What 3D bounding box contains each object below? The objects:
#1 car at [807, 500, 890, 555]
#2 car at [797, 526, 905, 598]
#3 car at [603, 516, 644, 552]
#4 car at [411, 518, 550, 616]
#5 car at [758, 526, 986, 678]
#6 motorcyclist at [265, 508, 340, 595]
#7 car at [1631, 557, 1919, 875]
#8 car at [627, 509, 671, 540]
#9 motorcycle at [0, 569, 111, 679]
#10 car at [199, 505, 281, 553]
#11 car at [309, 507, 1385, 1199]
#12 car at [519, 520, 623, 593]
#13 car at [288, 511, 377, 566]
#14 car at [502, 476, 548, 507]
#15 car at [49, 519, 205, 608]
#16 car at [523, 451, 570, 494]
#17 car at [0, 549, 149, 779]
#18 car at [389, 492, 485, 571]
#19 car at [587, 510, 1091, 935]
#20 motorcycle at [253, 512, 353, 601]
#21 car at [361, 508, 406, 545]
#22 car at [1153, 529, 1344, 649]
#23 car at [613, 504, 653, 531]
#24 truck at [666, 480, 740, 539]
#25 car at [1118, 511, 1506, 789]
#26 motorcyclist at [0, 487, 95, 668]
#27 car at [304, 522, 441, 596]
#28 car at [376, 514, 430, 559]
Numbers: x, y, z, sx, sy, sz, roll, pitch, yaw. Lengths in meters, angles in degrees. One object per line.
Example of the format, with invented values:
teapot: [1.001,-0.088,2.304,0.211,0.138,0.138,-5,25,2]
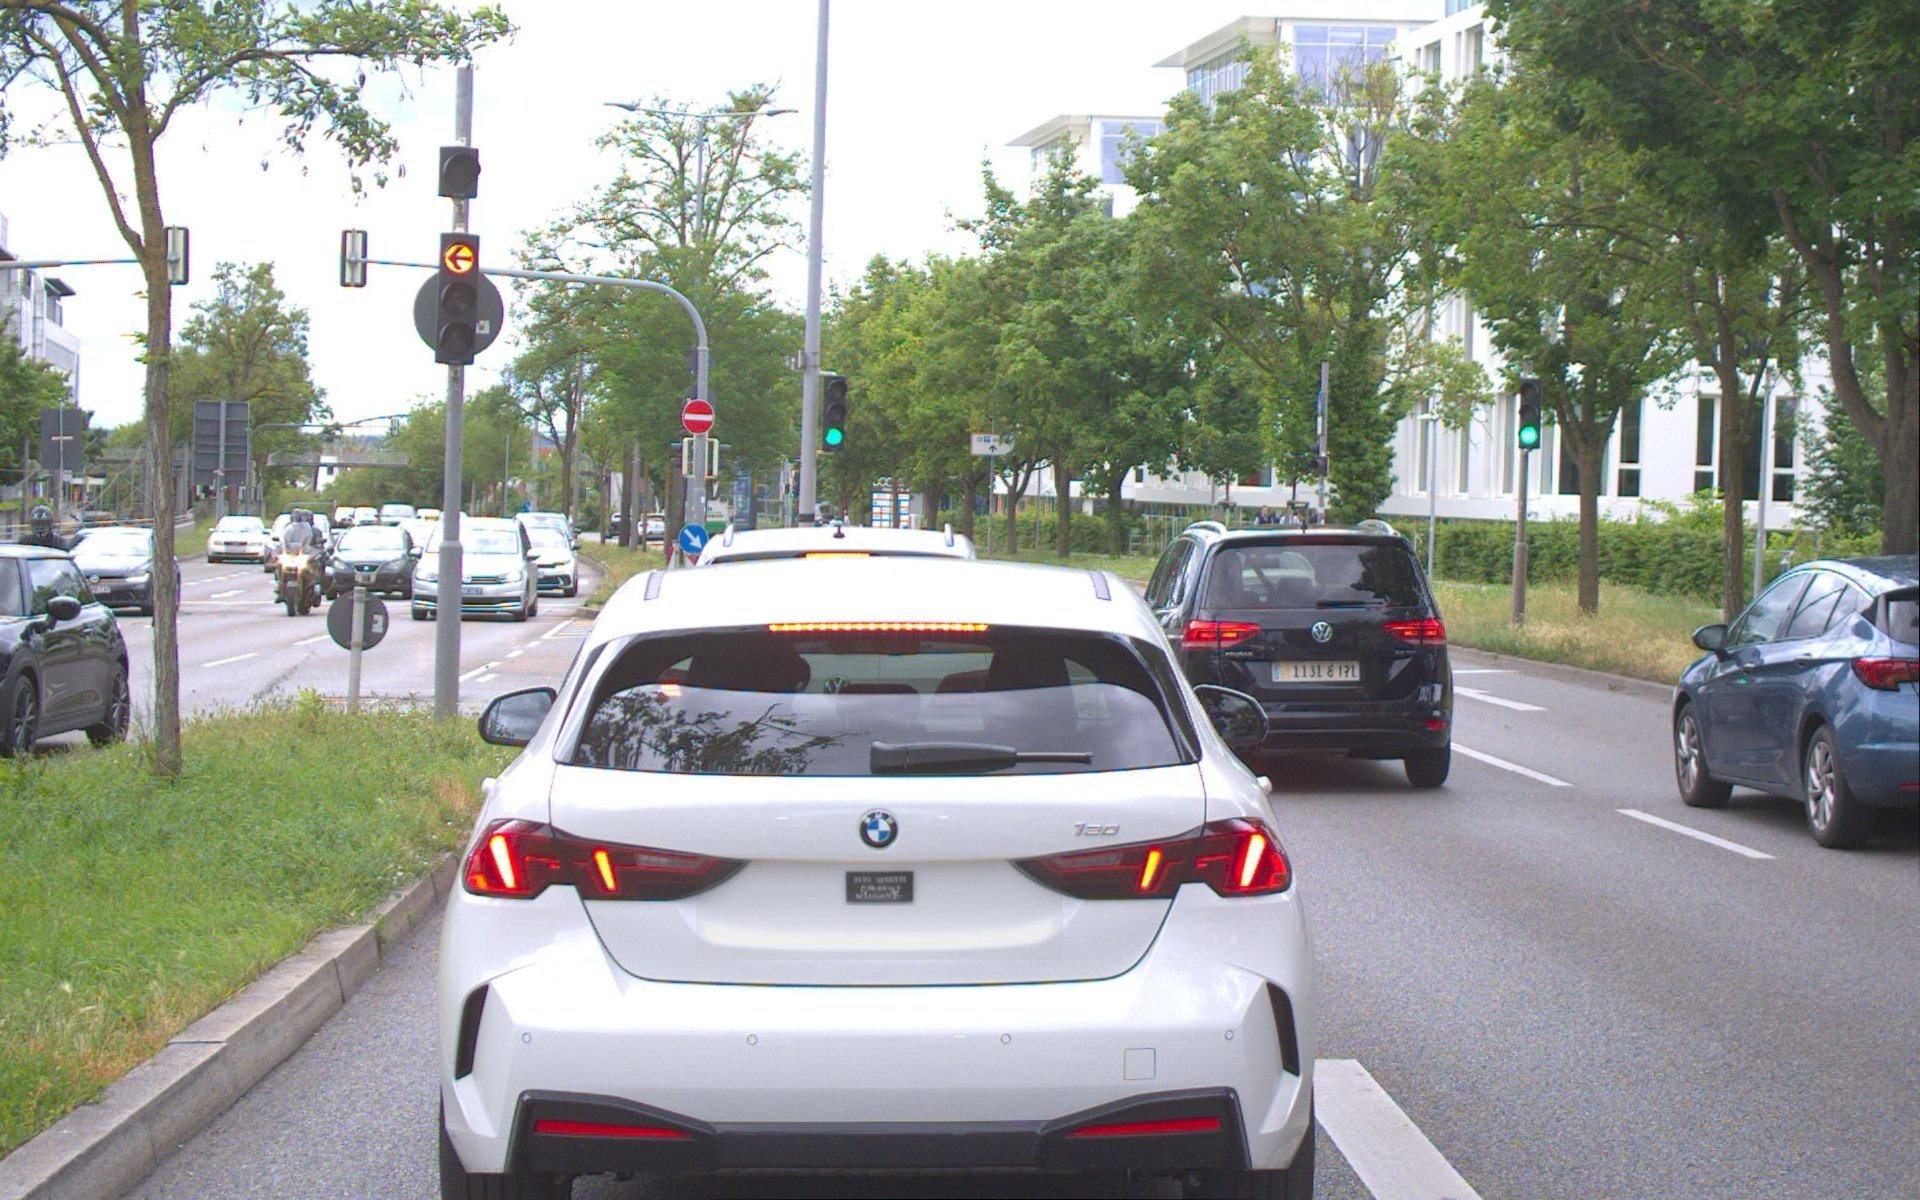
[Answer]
car: [-3.424,-2.234,105.323,1.993,1.590,4.001,1,1,-9]
car: [-2.538,-0.889,78.828,2.053,1.481,4.974,-3,2,-6]
car: [-19.424,-3.837,198.635,1.993,2.007,4.000,1,1,-1]
car: [-7.581,-0.542,54.631,1.708,1.492,3.803,0,1,-1]
car: [-0.888,0.000,37.165,1.994,1.503,3.999,1,1,5]
motorcyclist: [-10.775,-0.794,56.394,0.910,1.387,1.674,1,1,-1]
car: [5.037,0.517,18.323,1.967,1.434,4.313,-1,1,-2]
car: [-15.421,-3.756,170.256,1.993,1.503,4.001,1,1,-8]
motorcycle: [-9.585,0.226,35.805,0.838,1.060,2.653,1,1,-1]
car: [-21.600,-2.131,103.221,1.708,1.414,3.803,0,1,-1]
car: [-0.143,0.559,8.035,1.863,1.444,4.000,1,1,2]
car: [-7.851,-0.890,69.701,1.667,1.400,4.000,1,1,-1]
car: [-16.789,-1.651,92.108,1.708,1.414,3.803,0,1,-1]
car: [-24.188,-6.022,191.189,1.993,1.612,4.000,3,1,-1]
car: [-13.774,-0.626,57.014,1.708,1.414,3.803,0,1,-1]
car: [-20.923,-6.453,174.189,1.993,2.004,4.325,3,1,-3]
car: [-6.663,0.357,22.707,1.754,1.366,3.780,0,1,-1]
car: [-13.835,-1.819,91.192,1.993,2.007,4.000,1,1,-1]
car: [-0.481,0.470,15.851,1.993,1.666,4.000,1,1,0]
motorcycle: [-10.763,-0.731,56.441,0.889,1.393,4.000,1,1,-1]
car: [-32.231,-4.114,192.255,1.993,2.004,4.325,1,1,-3]
car: [3.768,-0.172,45.686,1.793,1.467,4.700,1,1,-4]
car: [-19.063,-4.786,200.308,1.993,1.503,4.001,1,1,-9]
truck: [-11.549,-4.030,153.919,2.858,2.511,6.289,1,1,-8]
car: [2.171,0.249,22.397,1.966,1.635,4.313,0,1,-2]
motorcyclist: [-9.590,-0.242,35.767,0.848,1.830,1.259,1,1,-1]
car: [-11.431,-0.814,67.133,1.993,1.349,4.000,1,1,-1]
car: [-25.450,-2.917,157.190,1.993,2.004,4.325,1,1,-3]
